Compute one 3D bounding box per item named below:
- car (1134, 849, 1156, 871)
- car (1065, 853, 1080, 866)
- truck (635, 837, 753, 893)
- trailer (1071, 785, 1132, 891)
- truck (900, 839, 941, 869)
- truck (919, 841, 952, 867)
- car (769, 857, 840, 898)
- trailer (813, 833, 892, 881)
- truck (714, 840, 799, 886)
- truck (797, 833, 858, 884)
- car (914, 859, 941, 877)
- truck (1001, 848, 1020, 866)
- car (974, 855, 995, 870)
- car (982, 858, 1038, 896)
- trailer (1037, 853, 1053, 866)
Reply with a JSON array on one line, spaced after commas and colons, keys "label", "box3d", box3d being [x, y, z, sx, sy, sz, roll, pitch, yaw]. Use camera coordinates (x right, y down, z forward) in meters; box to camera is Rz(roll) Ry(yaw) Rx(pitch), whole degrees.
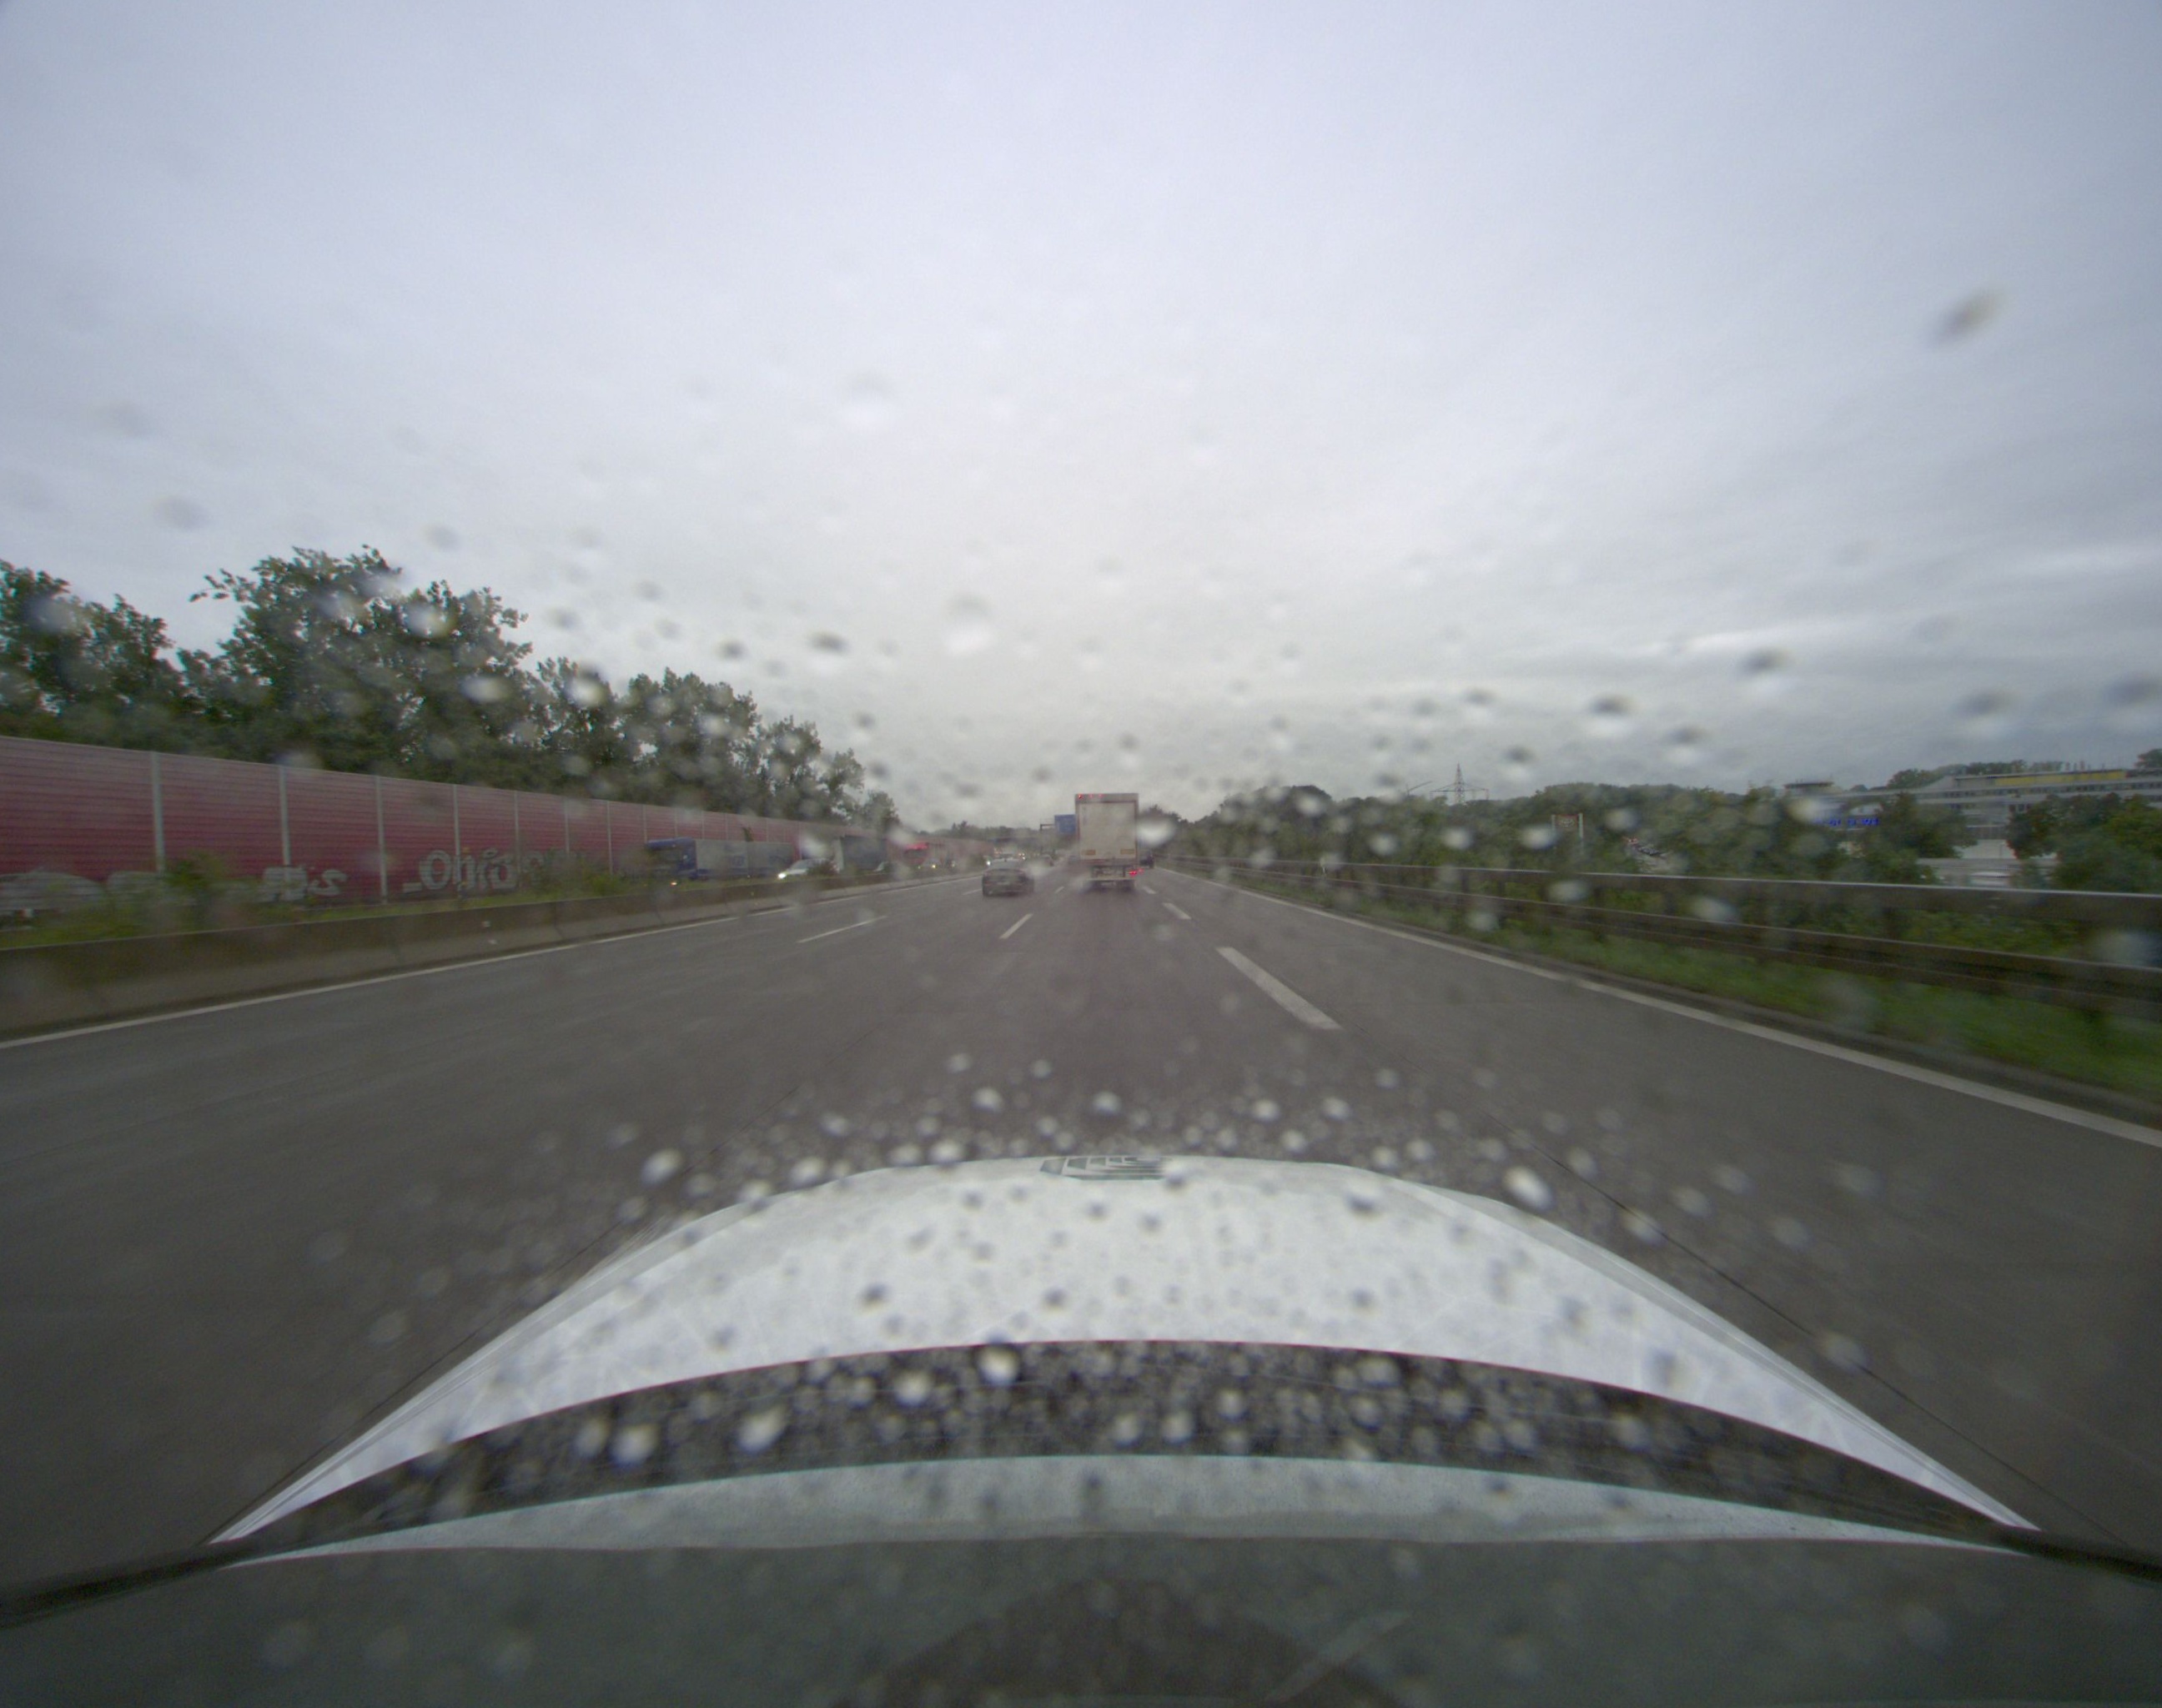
[{"label": "car", "box3d": [5.845, 0.541, 75.020, 1.889, 1.949, 4.003, 0, 0, 3]}, {"label": "car", "box3d": [-1.145, 0.752, 114.264, 1.887, 1.723, 4.002, -1, 0, 2]}, {"label": "truck", "box3d": [-25.428, 0.637, 54.282, 2.703, 3.350, 10.434, 0, 0, 1]}, {"label": "trailer", "box3d": [1.085, -0.693, 40.087, 2.334, 4.157, 14.833, -2, 0, 2]}, {"label": "truck", "box3d": [-20.156, 0.003, 102.994, 2.771, 3.490, 10.620, -2, 0, 1]}, {"label": "truck", "box3d": [-19.998, 0.002, 112.536, 2.771, 3.490, 8.495, -2, 0, 1]}, {"label": "car", "box3d": [-14.683, 1.201, 43.552, 1.986, 2.013, 4.792, -1, 0, 1]}, {"label": "trailer", "box3d": [-20.814, 0.263, 75.266, 3.035, 4.027, 14.129, 0, 0, 1]}, {"label": "truck", "box3d": [-25.236, 0.636, 63.877, 2.962, 3.350, 8.701, 0, 0, 1]}, {"label": "truck", "box3d": [-20.950, 0.326, 67.608, 3.035, 4.027, 6.052, 0, 0, 1]}, {"label": "car", "box3d": [-16.936, 1.555, 89.913, 1.986, 1.859, 4.390, -2, 0, 1]}, {"label": "truck", "box3d": [-11.608, 0.479, 134.753, 2.258, 2.828, 7.281, 0, 0, 1]}, {"label": "car", "box3d": [-12.175, 1.034, 102.653, 1.986, 1.859, 4.390, -2, 0, 1]}, {"label": "car", "box3d": [-2.814, 0.887, 33.193, 1.719, 1.403, 4.830, -1, 0, 2]}, {"label": "trailer", "box3d": [-4.966, 0.720, 112.393, 1.808, 1.624, 4.570, -1, 0, 2]}]
